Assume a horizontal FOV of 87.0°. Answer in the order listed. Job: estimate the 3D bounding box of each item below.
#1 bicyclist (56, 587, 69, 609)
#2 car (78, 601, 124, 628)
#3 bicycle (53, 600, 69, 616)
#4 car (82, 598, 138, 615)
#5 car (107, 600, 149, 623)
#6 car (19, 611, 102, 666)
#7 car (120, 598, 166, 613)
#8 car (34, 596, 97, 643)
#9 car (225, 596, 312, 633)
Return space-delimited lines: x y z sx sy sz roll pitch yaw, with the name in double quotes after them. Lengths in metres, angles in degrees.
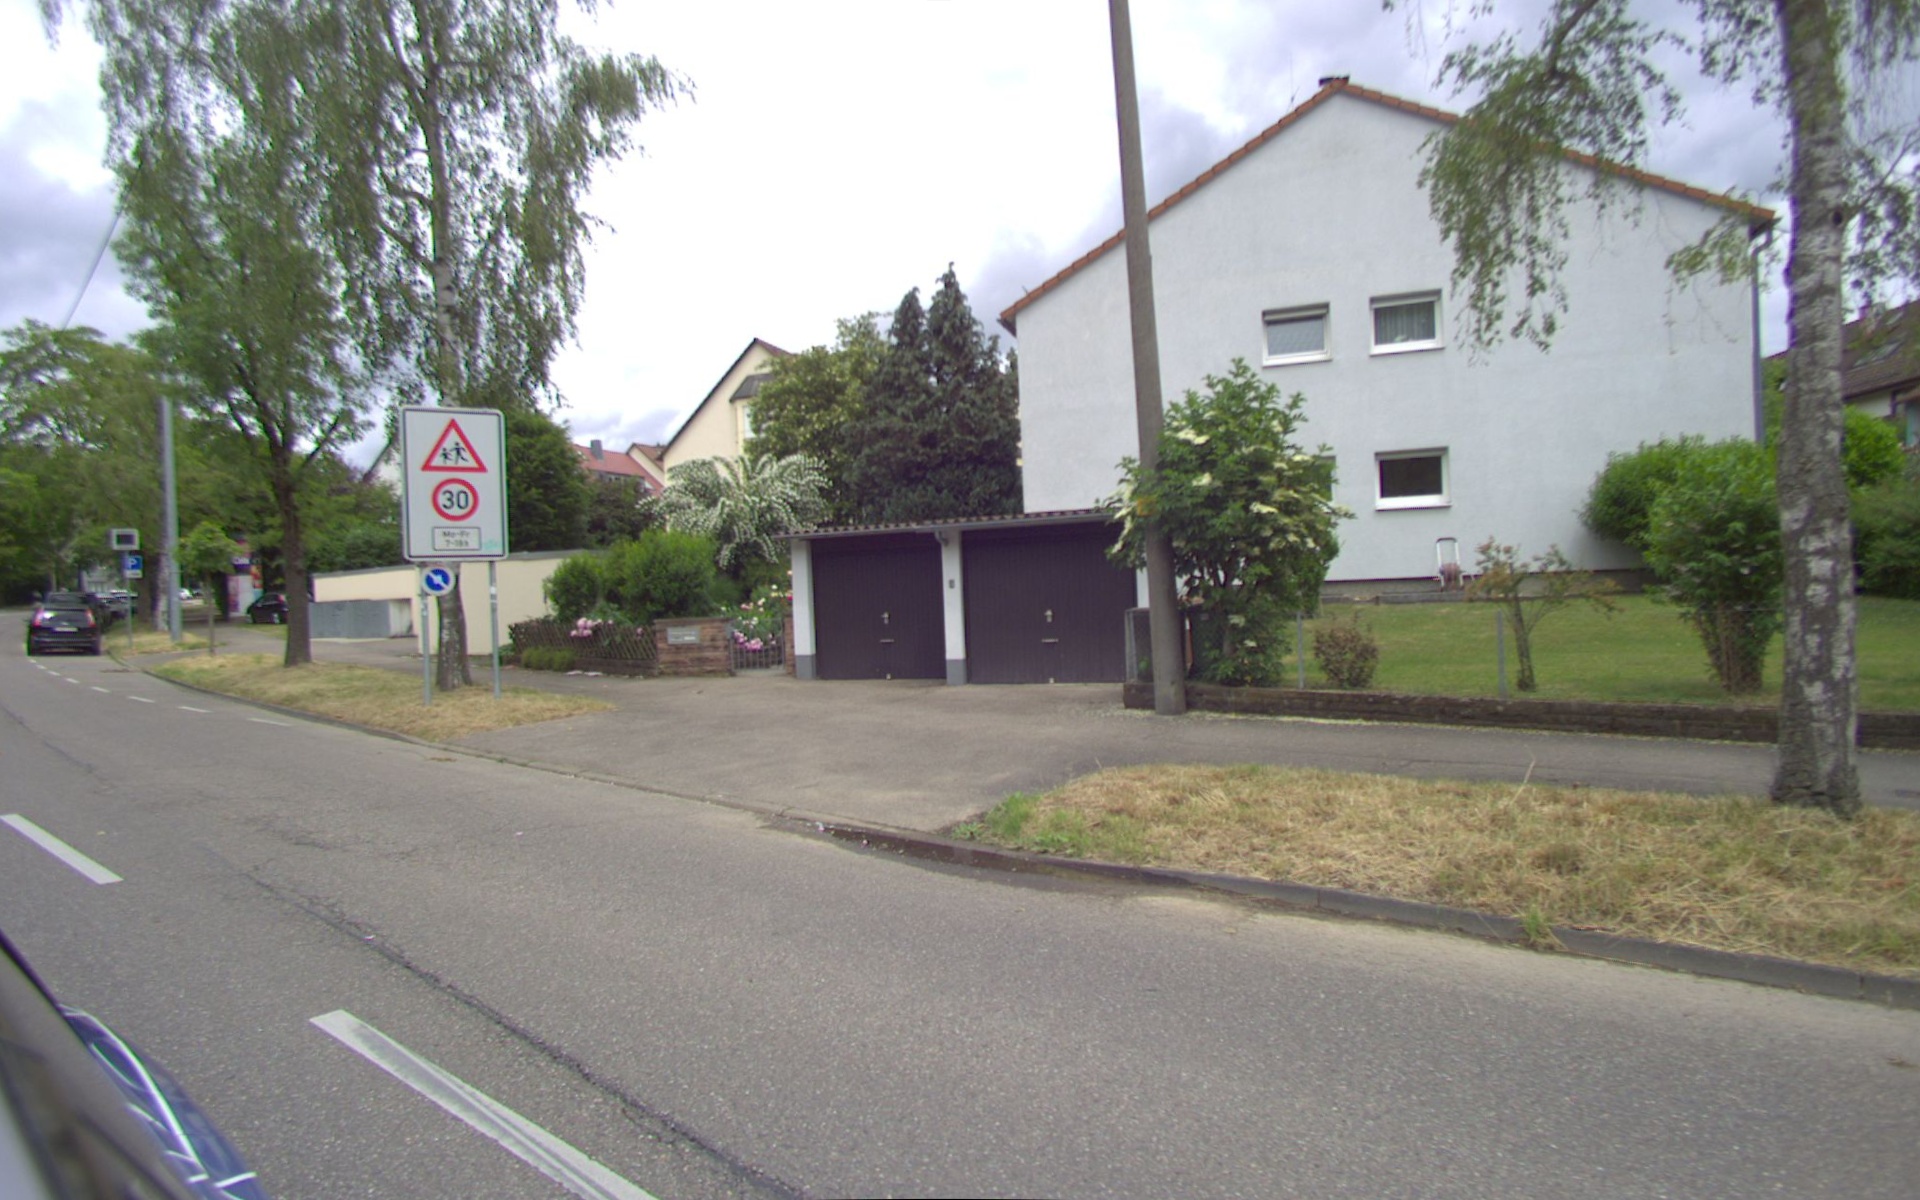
-72.830 -0.142 82.128 0.637 1.792 0.630 -1 2 -33 "bicyclist"
-52.680 0.865 62.090 1.712 1.590 4.152 0 0 -34 "car"
-72.494 0.659 81.636 0.637 1.246 1.882 -2 1 -33 "bicycle"
-91.207 0.689 108.663 4.409 1.597 1.912 -4 2 -34 "car"
-59.029 0.814 71.840 1.711 1.549 4.202 0 0 -31 "car"
-28.495 1.192 32.007 1.783 1.575 4.271 3 -2 -43 "car"
-96.736 0.642 119.801 1.866 1.475 3.944 -1 3 43 "car"
-39.464 0.814 44.745 1.834 1.923 5.092 -1 1 -39 "car"
-31.861 0.650 46.626 3.977 1.488 1.761 0 4 32 "car"
